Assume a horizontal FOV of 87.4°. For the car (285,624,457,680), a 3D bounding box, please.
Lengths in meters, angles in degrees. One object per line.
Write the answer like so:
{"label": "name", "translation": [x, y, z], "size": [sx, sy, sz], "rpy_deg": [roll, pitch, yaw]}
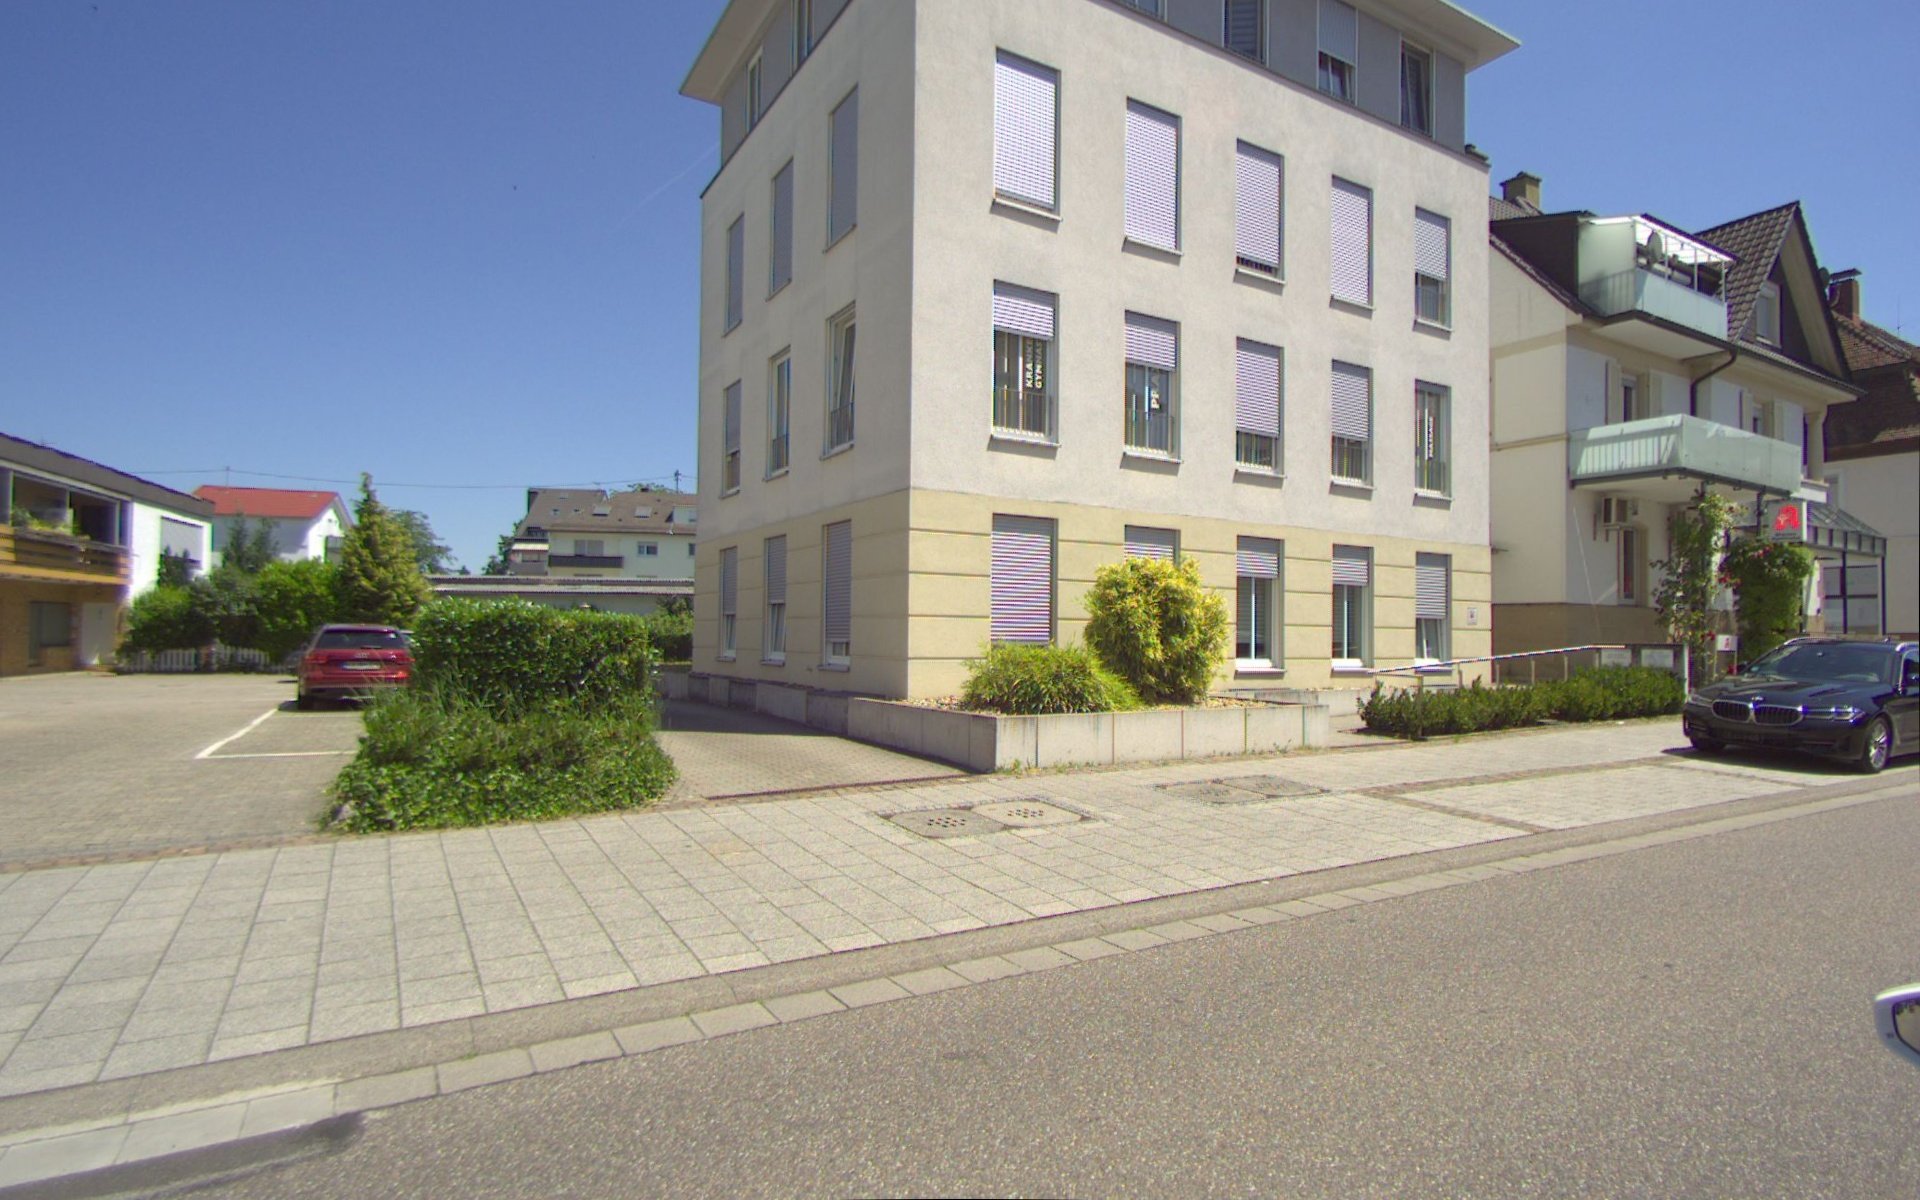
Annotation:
{"label": "car", "translation": [-16.383, 1.430, 28.093], "size": [3.998, 1.457, 1.940], "rpy_deg": [2, -2, -31]}

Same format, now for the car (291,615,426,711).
{"label": "car", "translation": [-10.785, 1.062, 18.020], "size": [1.856, 1.494, 4.151], "rpy_deg": [2, -2, -32]}

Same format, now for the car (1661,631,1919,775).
{"label": "car", "translation": [11.478, 1.212, 13.072], "size": [5.089, 1.471, 1.907], "rpy_deg": [2, 1, -31]}
